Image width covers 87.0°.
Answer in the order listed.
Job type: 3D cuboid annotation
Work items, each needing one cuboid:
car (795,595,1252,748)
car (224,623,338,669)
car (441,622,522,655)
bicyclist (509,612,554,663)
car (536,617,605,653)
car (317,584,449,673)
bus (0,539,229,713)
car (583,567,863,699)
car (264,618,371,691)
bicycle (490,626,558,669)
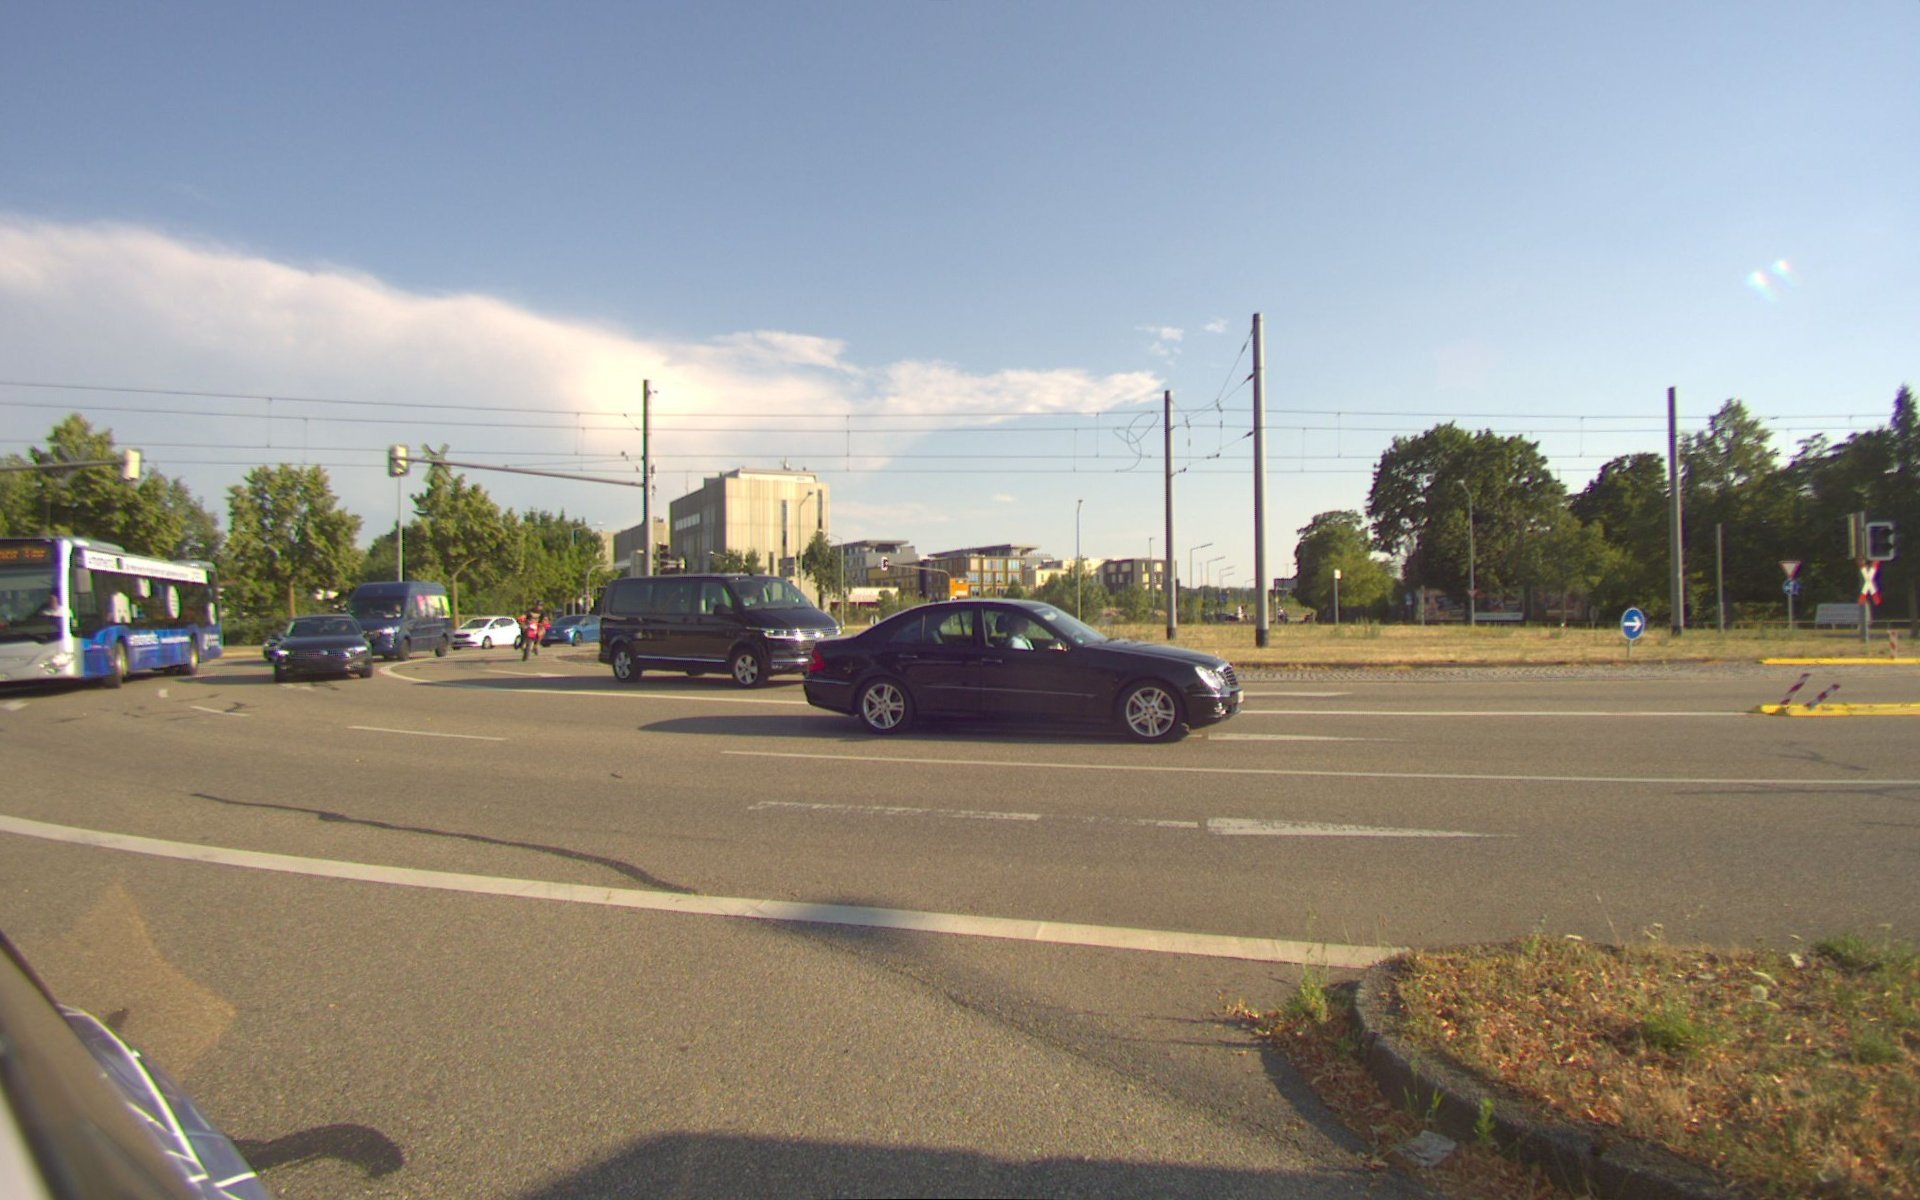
[{"bbox_3d":[0.711,0.747,11.026,4.663,1.417,1.832,-2,-2,19],"label":"car"},{"bbox_3d":[-24.305,1.614,36.411,1.967,1.535,4.009,0,-1,-11],"label":"car"},{"bbox_3d":[-23.565,1.876,50.008,1.664,1.529,3.987,-1,-1,10],"label":"car"},{"bbox_3d":[-12.394,1.084,29.259,0.769,1.395,0.874,-1,2,32],"label":"bicyclist"},{"bbox_3d":[-18.875,1.673,49.187,1.845,1.674,3.999,0,-1,0],"label":"car"},{"bbox_3d":[-18.727,0.946,33.154,1.968,2.614,5.497,-2,-2,-10],"label":"car"},{"bbox_3d":[-19.886,0.564,23.259,2.620,3.085,12.218,0,-1,-24],"label":"bus"},{"bbox_3d":[-4.367,0.563,18.191,5.236,2.063,2.068,-1,-1,38],"label":"car"},{"bbox_3d":[-14.525,1.150,22.783,1.781,1.447,4.397,-1,-1,-36],"label":"car"},{"bbox_3d":[-12.687,1.377,29.435,2.024,1.193,0.812,-1,-1,31],"label":"bicycle"}]
